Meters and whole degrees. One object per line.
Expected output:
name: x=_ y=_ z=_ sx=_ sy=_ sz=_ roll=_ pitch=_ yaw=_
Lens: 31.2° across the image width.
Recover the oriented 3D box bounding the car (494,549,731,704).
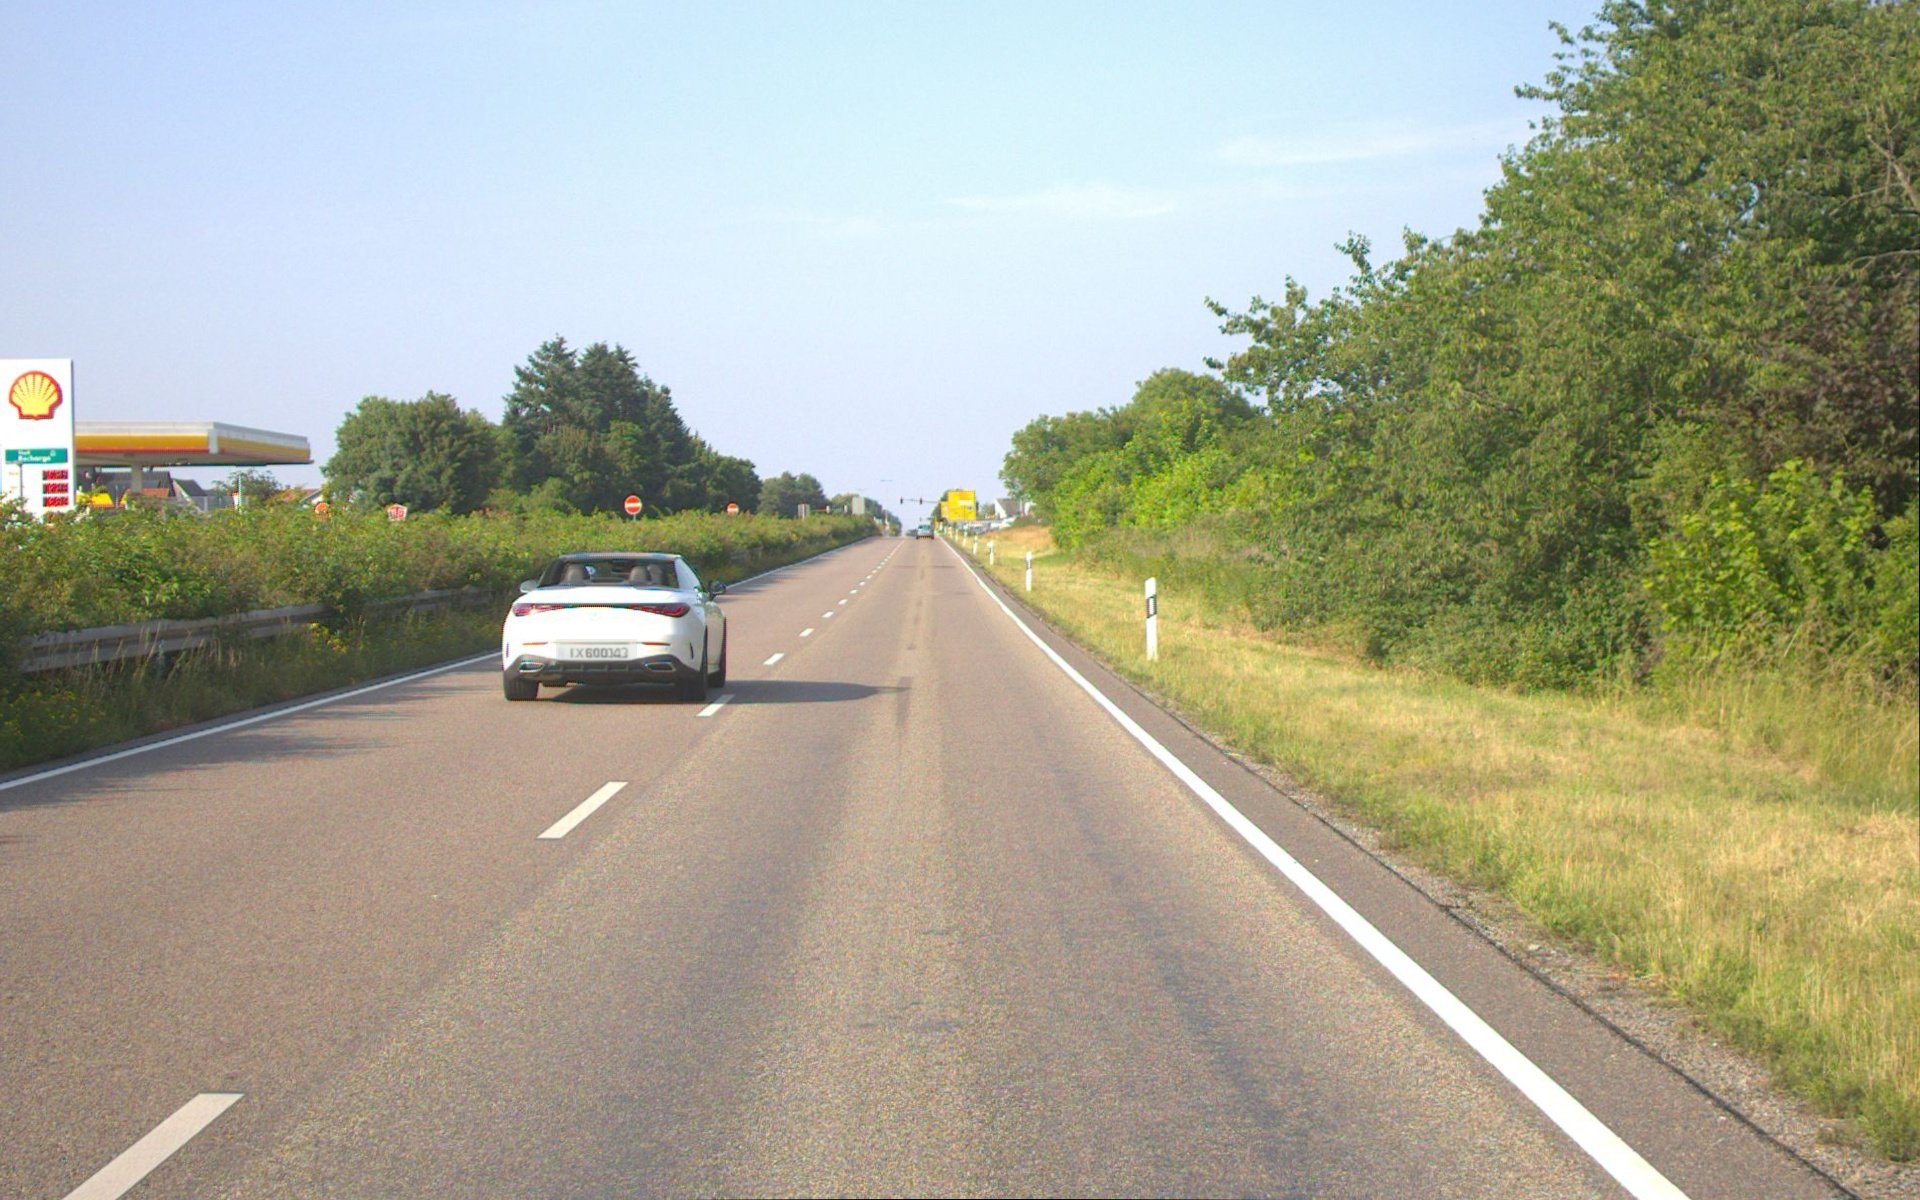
car: x=-3.262 y=0.199 z=33.113 sx=1.771 sy=1.333 sz=4.950 roll=1 pitch=1 yaw=0
